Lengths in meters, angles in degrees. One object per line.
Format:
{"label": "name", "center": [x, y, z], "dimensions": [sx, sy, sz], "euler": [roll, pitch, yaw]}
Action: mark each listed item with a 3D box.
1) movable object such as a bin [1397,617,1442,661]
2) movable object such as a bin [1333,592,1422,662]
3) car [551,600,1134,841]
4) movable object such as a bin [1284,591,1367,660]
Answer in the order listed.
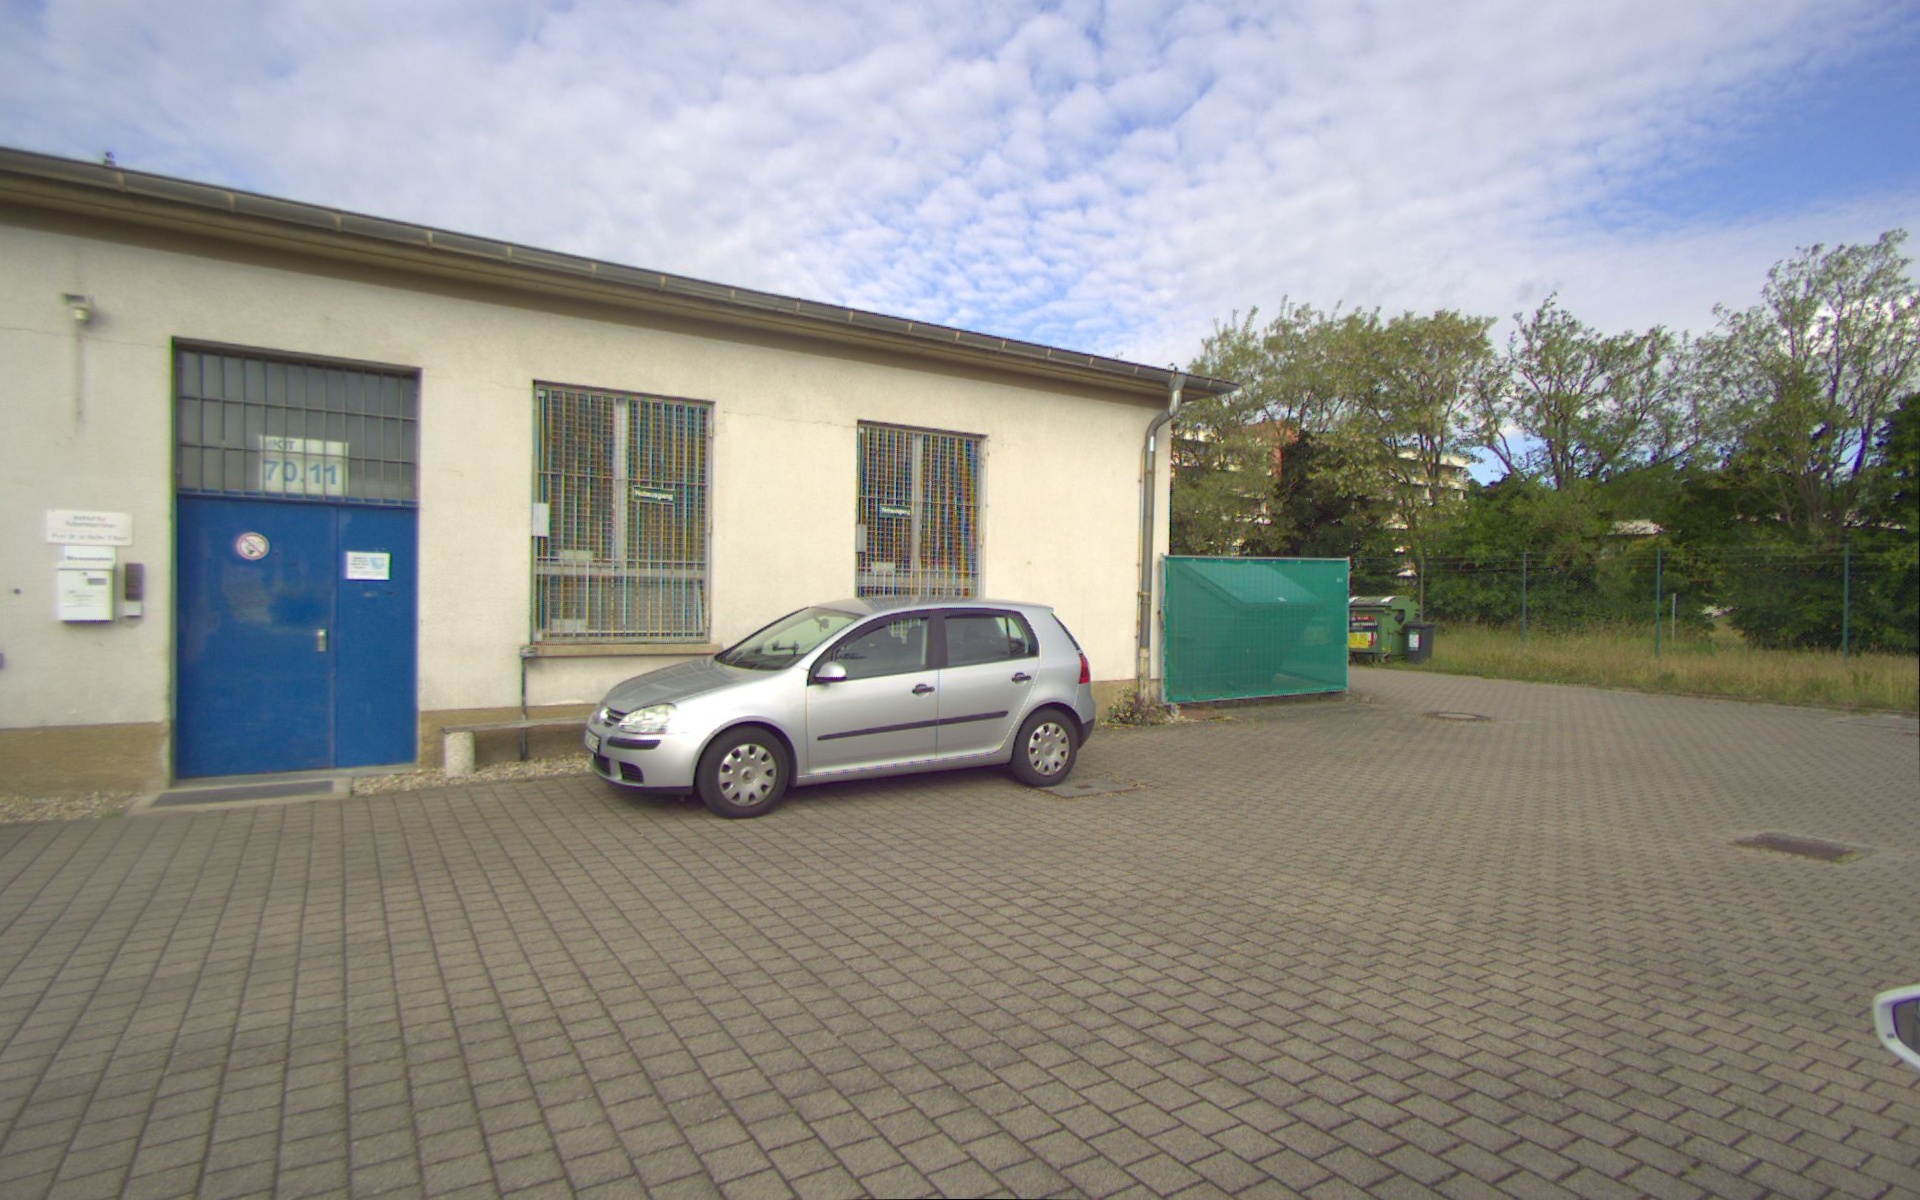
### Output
{"label": "movable object such as a bin", "center": [9.290, 0.777, 20.319], "dimensions": [0.593, 0.877, 0.582], "euler": [0, 0, -24]}
{"label": "movable object such as a bin", "center": [8.767, 0.551, 21.127], "dimensions": [1.116, 1.414, 1.348], "euler": [0, 0, -24]}
{"label": "car", "center": [-0.836, 0.739, 8.130], "dimensions": [4.322, 1.458, 1.913], "euler": [0, 0, -34]}
{"label": "movable object such as a bin", "center": [8.097, 0.552, 22.294], "dimensions": [1.060, 1.454, 1.387], "euler": [0, 0, -29]}
